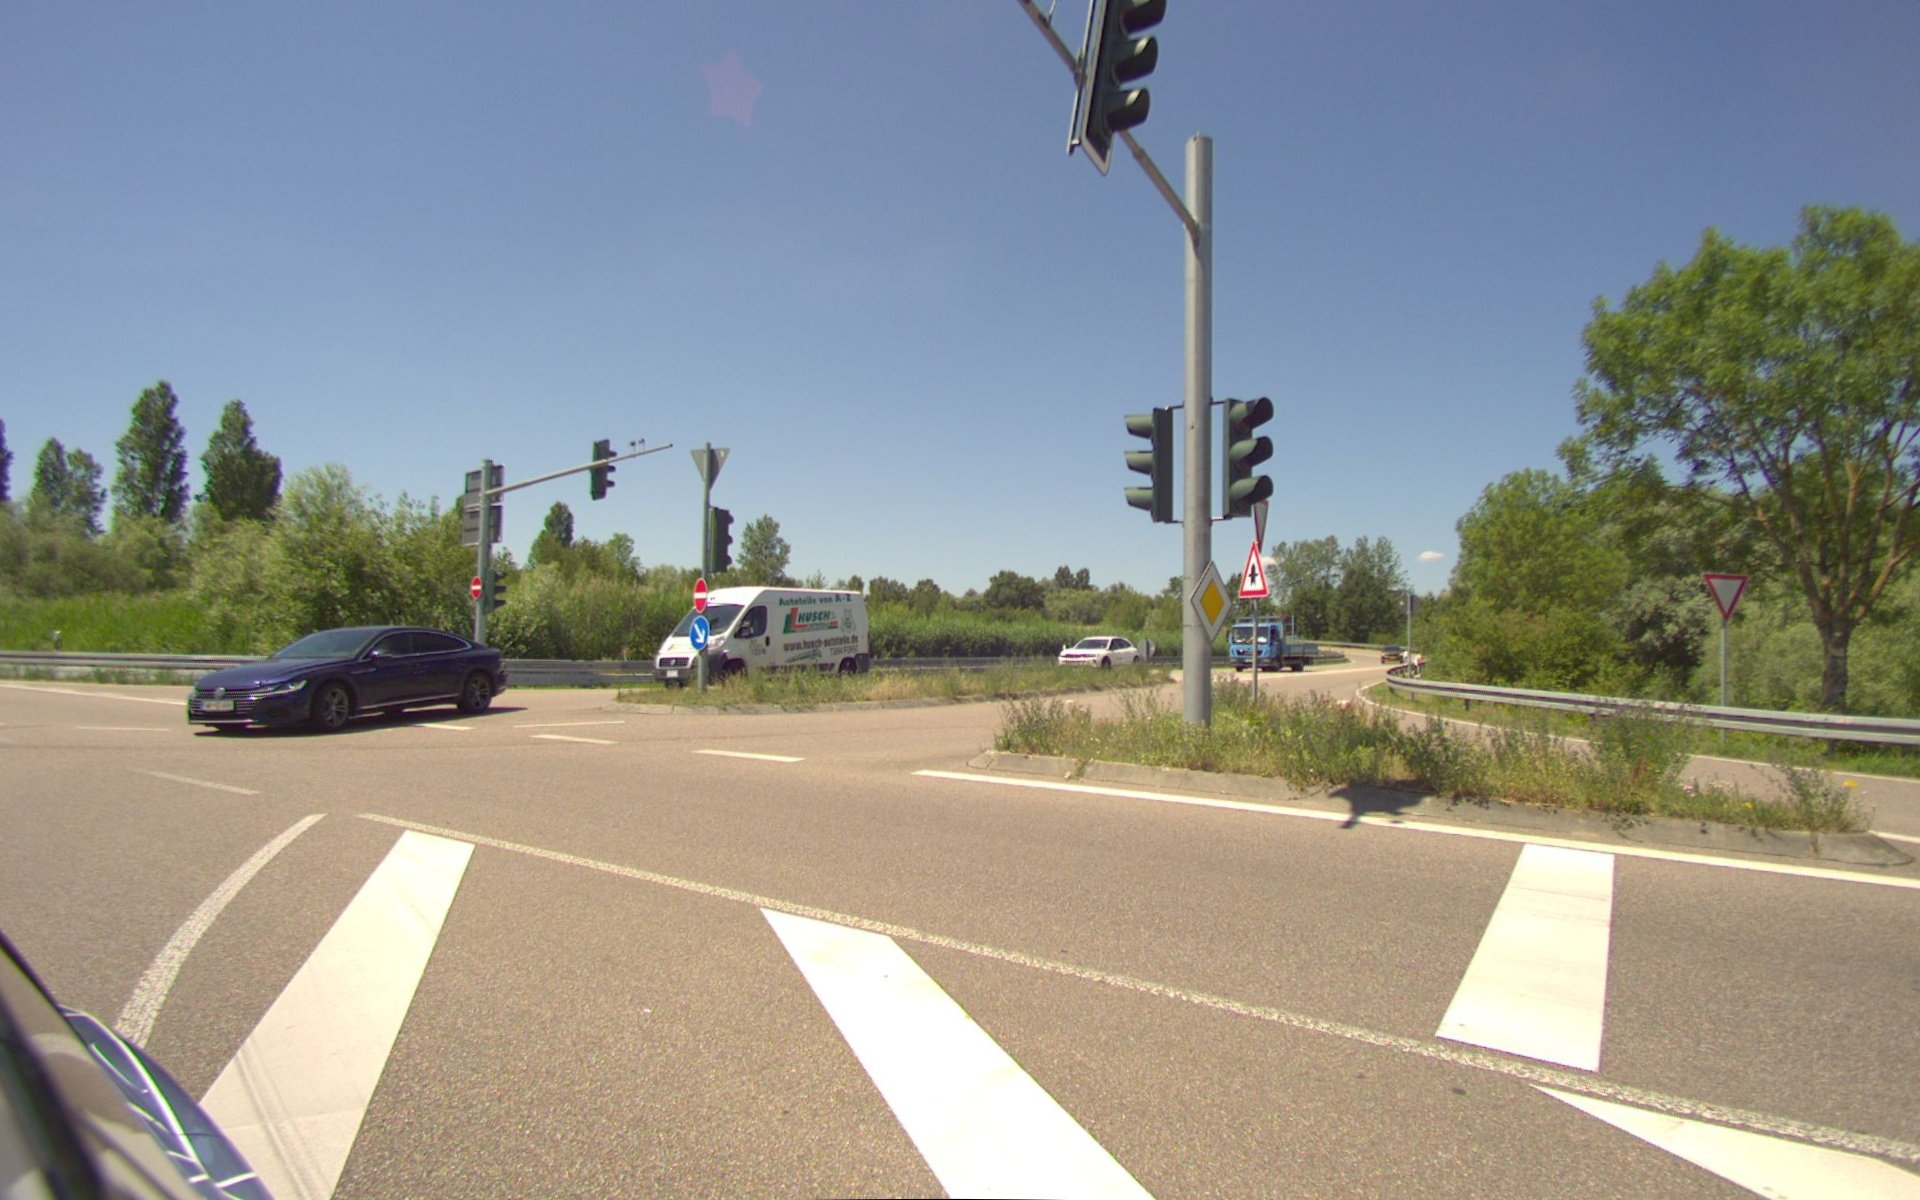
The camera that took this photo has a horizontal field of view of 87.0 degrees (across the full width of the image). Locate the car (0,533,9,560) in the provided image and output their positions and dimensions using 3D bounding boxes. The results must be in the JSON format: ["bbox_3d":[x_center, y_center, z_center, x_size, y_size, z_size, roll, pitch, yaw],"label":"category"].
[{"bbox_3d":[-94.949,-5.283,97.475,1.910,2.460,4.588,-2,-2,38],"label":"car"}]

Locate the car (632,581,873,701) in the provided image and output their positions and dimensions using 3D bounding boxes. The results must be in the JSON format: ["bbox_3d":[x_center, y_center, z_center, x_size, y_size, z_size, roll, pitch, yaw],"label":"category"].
[{"bbox_3d":[-4.752,1.061,24.355,2.222,2.514,5.916,-2,-5,32],"label":"car"}]

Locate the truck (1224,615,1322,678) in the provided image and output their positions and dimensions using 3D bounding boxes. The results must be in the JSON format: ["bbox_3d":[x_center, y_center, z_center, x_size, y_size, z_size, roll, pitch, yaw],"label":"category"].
[{"bbox_3d":[17.605,2.629,56.460,2.689,3.220,9.069,-1,-4,34],"label":"truck"}]

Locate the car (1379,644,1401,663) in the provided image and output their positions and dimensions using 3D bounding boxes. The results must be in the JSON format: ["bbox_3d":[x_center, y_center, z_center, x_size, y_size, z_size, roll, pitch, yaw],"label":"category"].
[{"bbox_3d":[39.082,4.864,91.910,1.580,1.619,3.437,0,-3,28],"label":"car"}]

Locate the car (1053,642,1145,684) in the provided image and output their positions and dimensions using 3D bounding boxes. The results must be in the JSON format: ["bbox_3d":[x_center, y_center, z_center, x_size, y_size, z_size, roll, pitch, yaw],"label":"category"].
[{"bbox_3d":[5.127,2.291,36.946,1.718,1.446,3.911,-1,-4,35],"label":"car"}]

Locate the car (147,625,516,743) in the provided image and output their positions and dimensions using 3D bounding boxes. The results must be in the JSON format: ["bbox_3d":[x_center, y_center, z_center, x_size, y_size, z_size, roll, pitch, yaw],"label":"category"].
[{"bbox_3d":[-8.864,1.106,14.839,1.832,1.434,4.537,0,-2,16],"label":"car"}]
